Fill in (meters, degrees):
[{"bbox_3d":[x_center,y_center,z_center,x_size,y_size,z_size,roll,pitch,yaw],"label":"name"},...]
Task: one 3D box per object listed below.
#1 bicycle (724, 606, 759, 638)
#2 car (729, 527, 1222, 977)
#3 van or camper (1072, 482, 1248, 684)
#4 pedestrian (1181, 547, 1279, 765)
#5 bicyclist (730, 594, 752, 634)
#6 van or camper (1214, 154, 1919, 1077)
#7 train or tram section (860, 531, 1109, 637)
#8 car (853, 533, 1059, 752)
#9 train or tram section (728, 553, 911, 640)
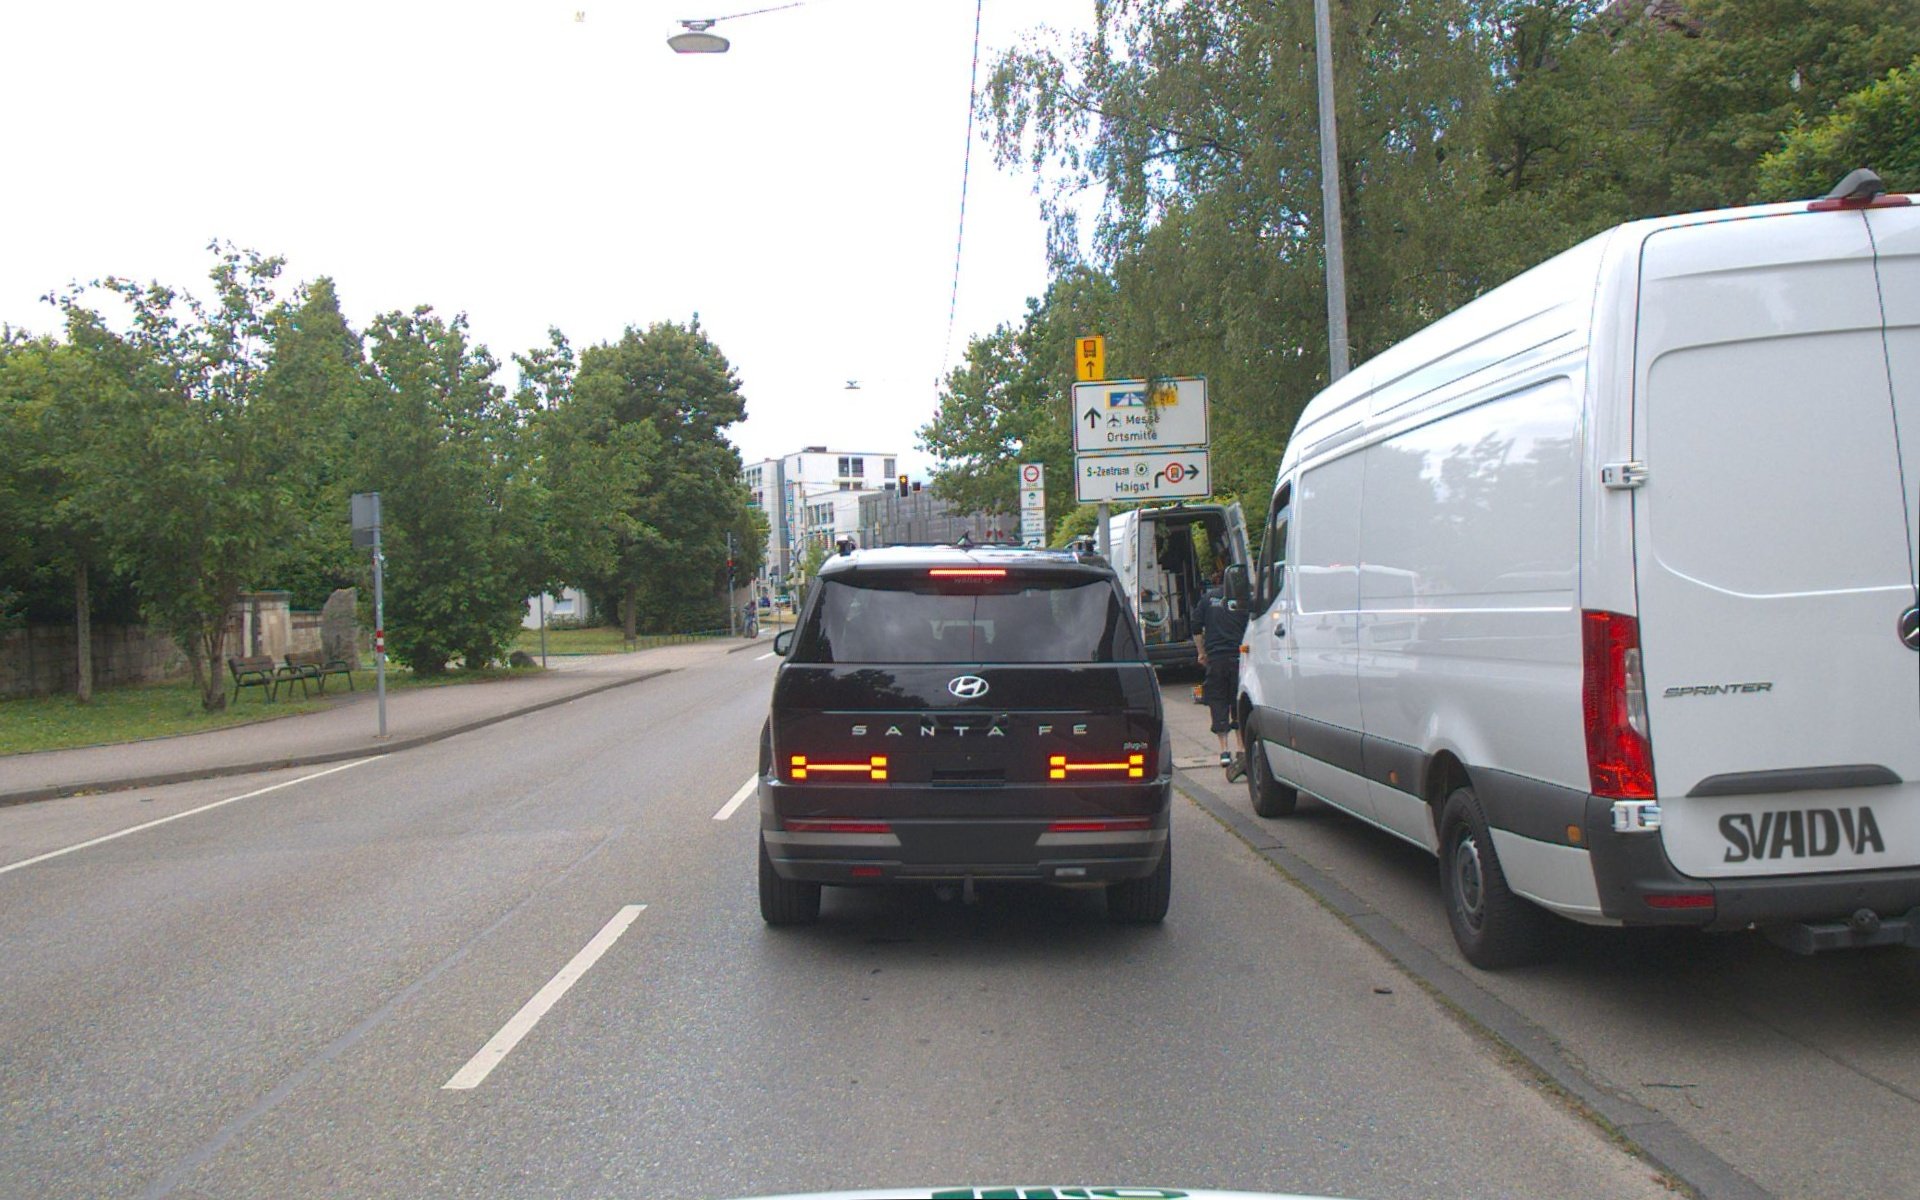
[{"bbox_3d":[-9.210,0.934,69.693,0.667,1.302,2.478,0,-2,-28],"label":"bicycle"},{"bbox_3d":[0.010,0.587,8.505,1.924,1.741,3.999,-1,0,-2],"label":"car"},{"bbox_3d":[3.120,-0.254,26.933,1.924,2.845,5.285,-4,0,-2],"label":"van or camper"},{"bbox_3d":[2.264,0.465,13.879,0.593,1.774,0.617,-2,-2,34],"label":"pedestrian"},{"bbox_3d":[-9.219,0.586,69.725,0.667,1.688,0.850,0,-2,-28],"label":"bicyclist"},{"bbox_3d":[2.861,-0.004,8.100,1.924,2.673,6.356,-4,0,-2],"label":"van or camper"},{"bbox_3d":[0.688,-0.529,83.073,3.161,4.602,18.481,1,-2,-31],"label":"train or tram section"},{"bbox_3d":[-0.089,0.389,17.578,1.924,2.036,3.999,-1,0,-2],"label":"car"},{"bbox_3d":[-8.789,-0.012,98.948,3.161,4.602,18.485,1,-2,-31],"label":"train or tram section"}]
